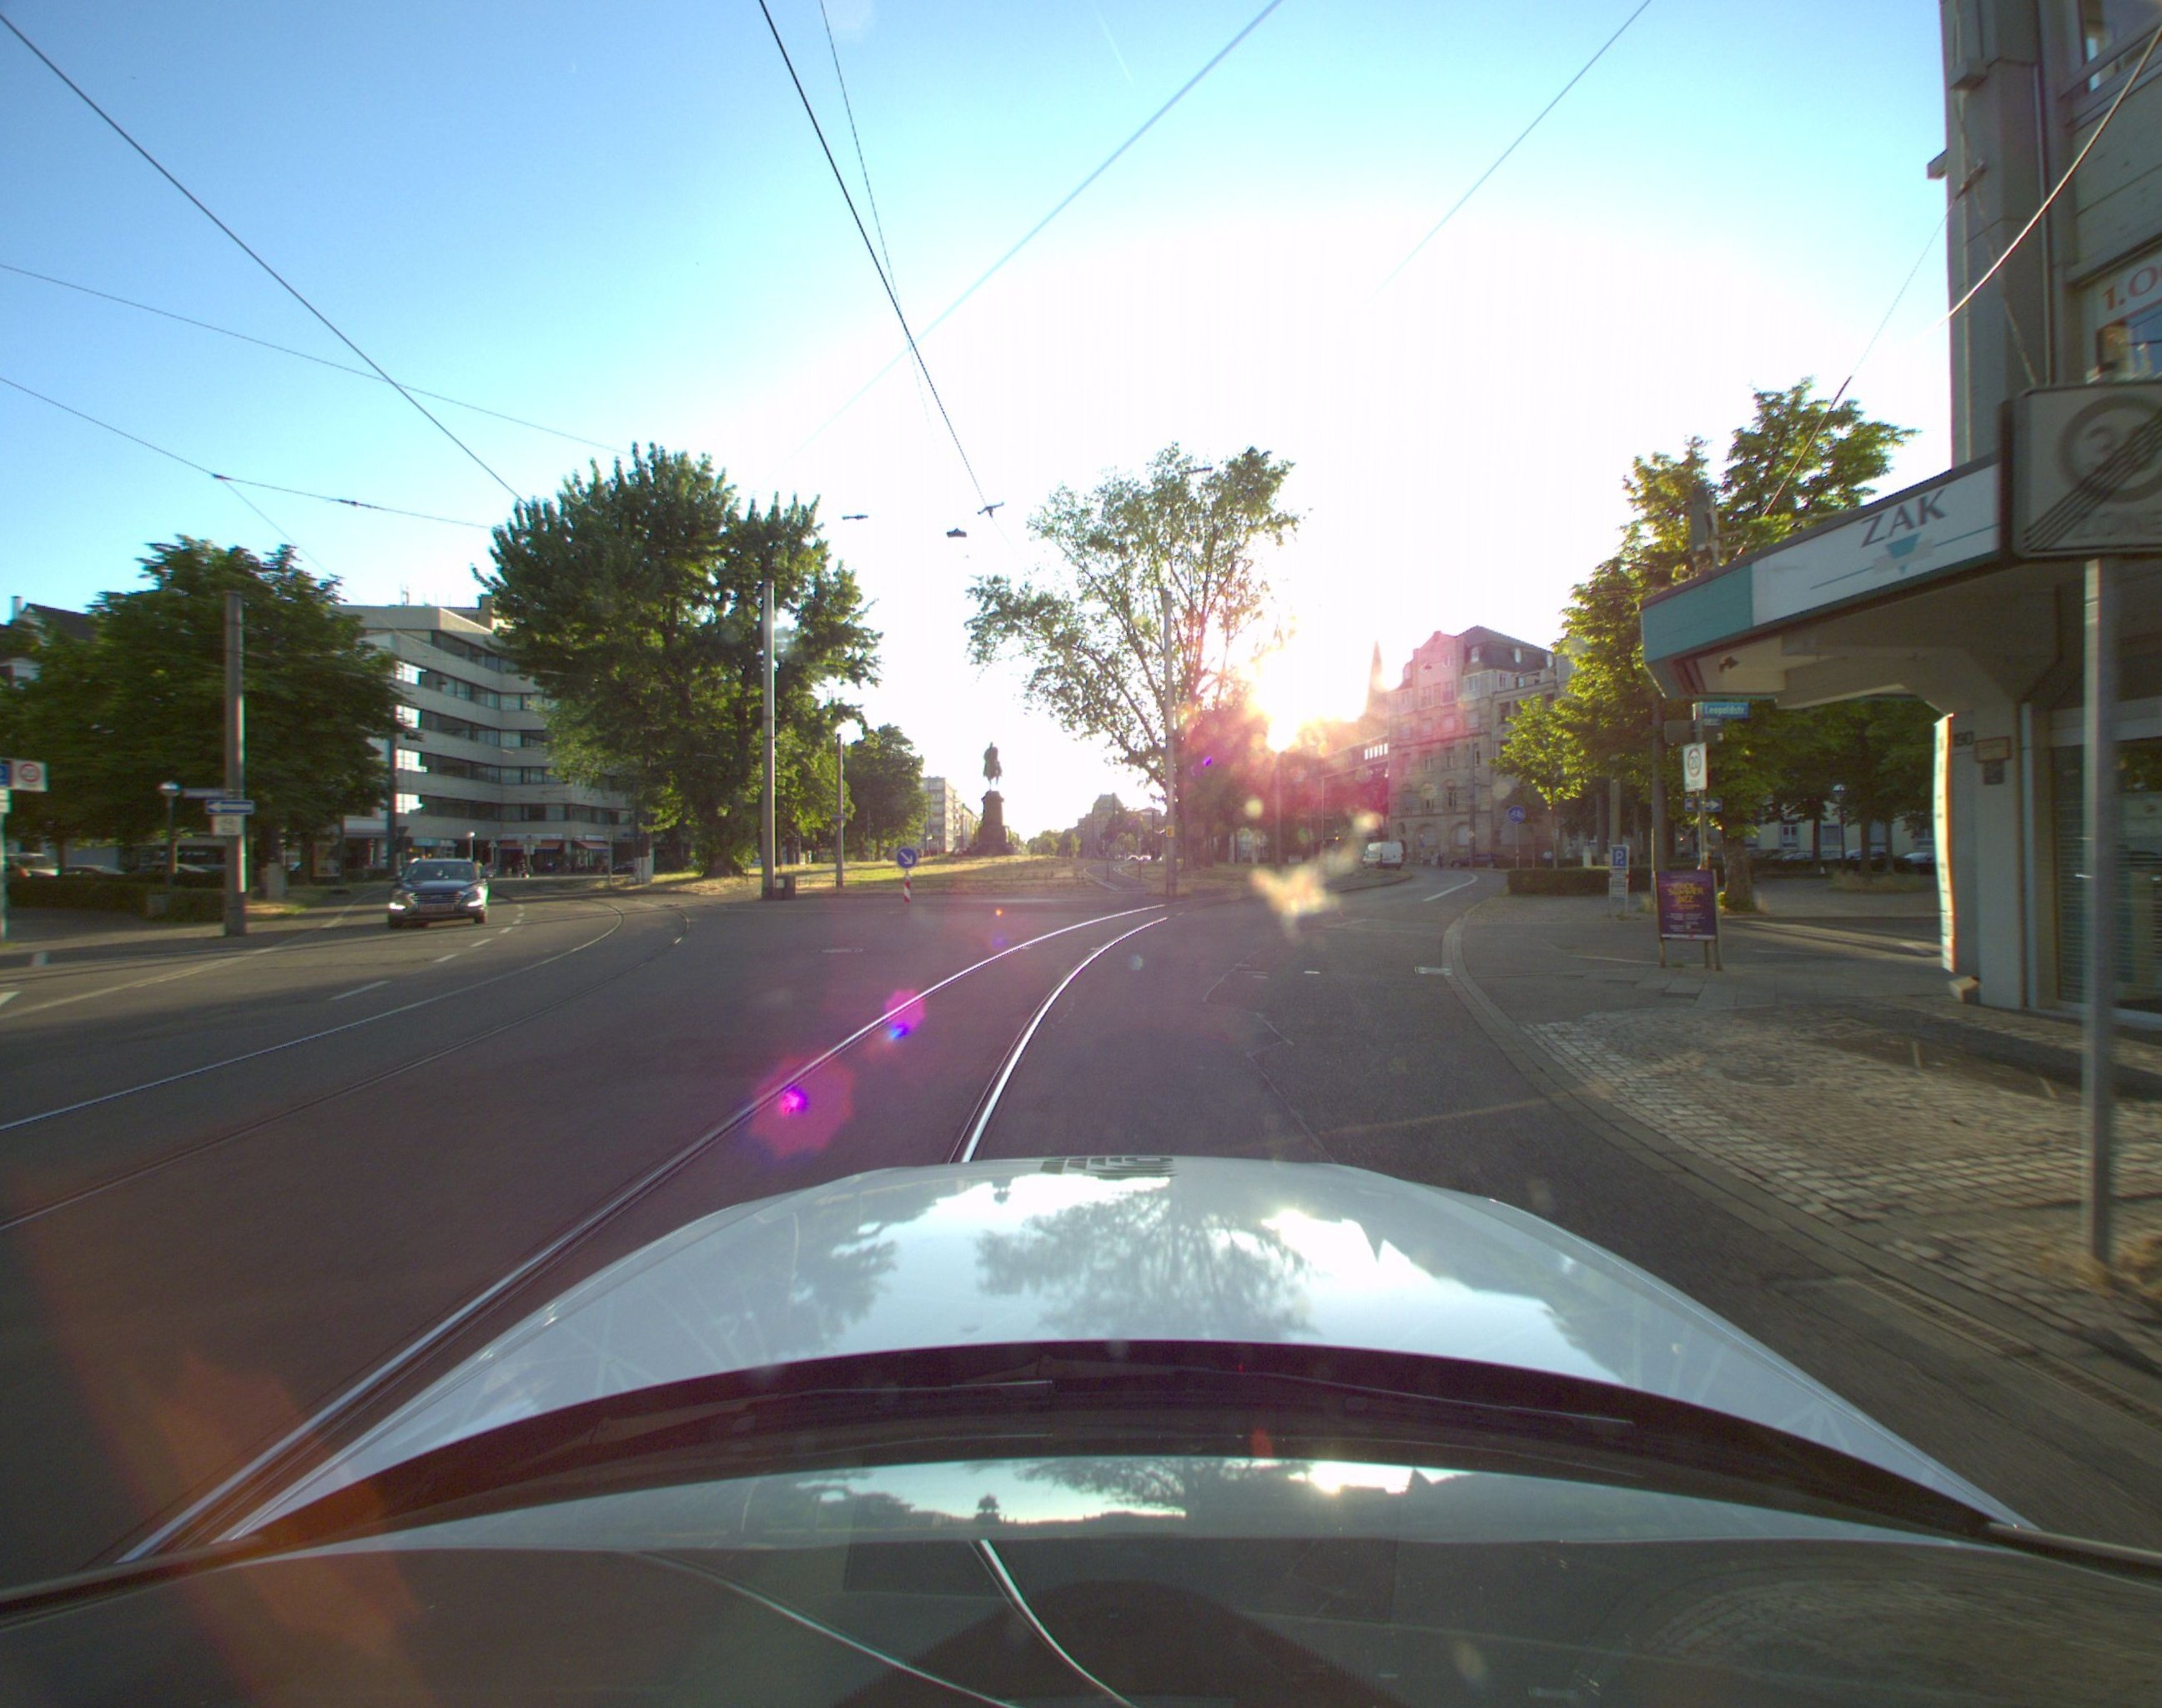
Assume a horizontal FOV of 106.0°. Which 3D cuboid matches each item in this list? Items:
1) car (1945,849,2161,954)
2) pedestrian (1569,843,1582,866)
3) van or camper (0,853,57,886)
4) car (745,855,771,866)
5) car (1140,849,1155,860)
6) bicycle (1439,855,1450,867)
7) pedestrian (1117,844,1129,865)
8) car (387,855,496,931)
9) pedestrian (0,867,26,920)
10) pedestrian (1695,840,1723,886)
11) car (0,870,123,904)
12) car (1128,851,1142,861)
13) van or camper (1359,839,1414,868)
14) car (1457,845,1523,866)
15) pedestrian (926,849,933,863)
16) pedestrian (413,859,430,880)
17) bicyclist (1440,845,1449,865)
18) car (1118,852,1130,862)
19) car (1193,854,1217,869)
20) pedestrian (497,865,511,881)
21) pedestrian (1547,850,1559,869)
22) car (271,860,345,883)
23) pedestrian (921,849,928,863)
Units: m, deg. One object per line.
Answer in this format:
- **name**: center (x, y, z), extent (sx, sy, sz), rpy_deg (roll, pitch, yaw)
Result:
- **car**: center (16.078, 0.663, 12.568), extent (3.850, 1.440, 1.830), rpy_deg (0, 1, -6)
- **pedestrian**: center (33.269, 0.050, 54.801), extent (0.627, 1.511, 0.691), rpy_deg (-1, 0, 44)
- **van or camper**: center (-55.686, 0.801, 41.775), extent (3.680, 1.640, 1.754), rpy_deg (-1, 0, -9)
- **car**: center (-42.999, 0.875, 108.514), extent (1.872, 1.420, 3.923), rpy_deg (-1, 0, -1)
- **car**: center (12.227, 0.071, 150.340), extent (2.134, 2.013, 3.995), rpy_deg (0, 0, -4)
- **bicycle**: center (29.855, 0.578, 66.890), extent (0.505, 0.978, 2.251), rpy_deg (-1, 0, 15)
- **pedestrian**: center (3.329, 0.035, 64.485), extent (0.630, 1.606, 0.776), rpy_deg (-1, 0, 43)
- **car**: center (-16.246, 0.909, 20.788), extent (1.979, 1.676, 4.310), rpy_deg (-2, 1, -37)
- **pedestrian**: center (-29.393, 1.071, 22.198), extent (0.761, 1.410, 0.750), rpy_deg (-1, 0, 38)
- **pedestrian**: center (27.753, 0.386, 36.004), extent (0.818, 2.013, 0.646), rpy_deg (0, 0, -22)
- **car**: center (-38.834, 1.234, 30.821), extent (1.718, 1.118, 3.248), rpy_deg (-1, 0, -13)
- **car**: center (10.837, 0.415, 163.445), extent (2.134, 2.013, 3.995), rpy_deg (0, 0, -4)
- **van or camper**: center (27.360, -0.084, 73.256), extent (2.598, 2.472, 6.321), rpy_deg (-1, 0, 1)
- **car**: center (35.044, 0.103, 69.911), extent (4.710, 1.762, 1.831), rpy_deg (0, 0, 44)
- **pedestrian**: center (-17.968, 0.214, 96.603), extent (0.769, 1.606, 0.636), rpy_deg (-1, 0, -11)
- **pedestrian**: center (-49.832, 1.176, 61.557), extent (0.745, 1.503, 0.767), rpy_deg (-1, 0, -19)
- **bicyclist**: center (29.839, 0.101, 66.854), extent (0.505, 1.642, 0.778), rpy_deg (-1, 0, 15)
- **car**: center (9.293, 0.655, 177.774), extent (2.134, 2.013, 3.995), rpy_deg (0, 0, -4)
- **car**: center (17.391, 1.044, 114.217), extent (1.996, 1.969, 3.981), rpy_deg (-1, 0, -14)
- **pedestrian**: center (-54.051, 1.798, 76.273), extent (0.736, 1.503, 0.775), rpy_deg (-1, 0, 20)
- **pedestrian**: center (36.991, 0.423, 63.822), extent (0.689, 1.511, 0.588), rpy_deg (0, 0, -28)
- **car**: center (-59.155, 1.311, 62.374), extent (1.757, 1.704, 3.692), rpy_deg (0, 0, 23)
- **pedestrian**: center (-18.722, 0.224, 97.176), extent (0.769, 1.606, 0.636), rpy_deg (-1, 0, -11)
